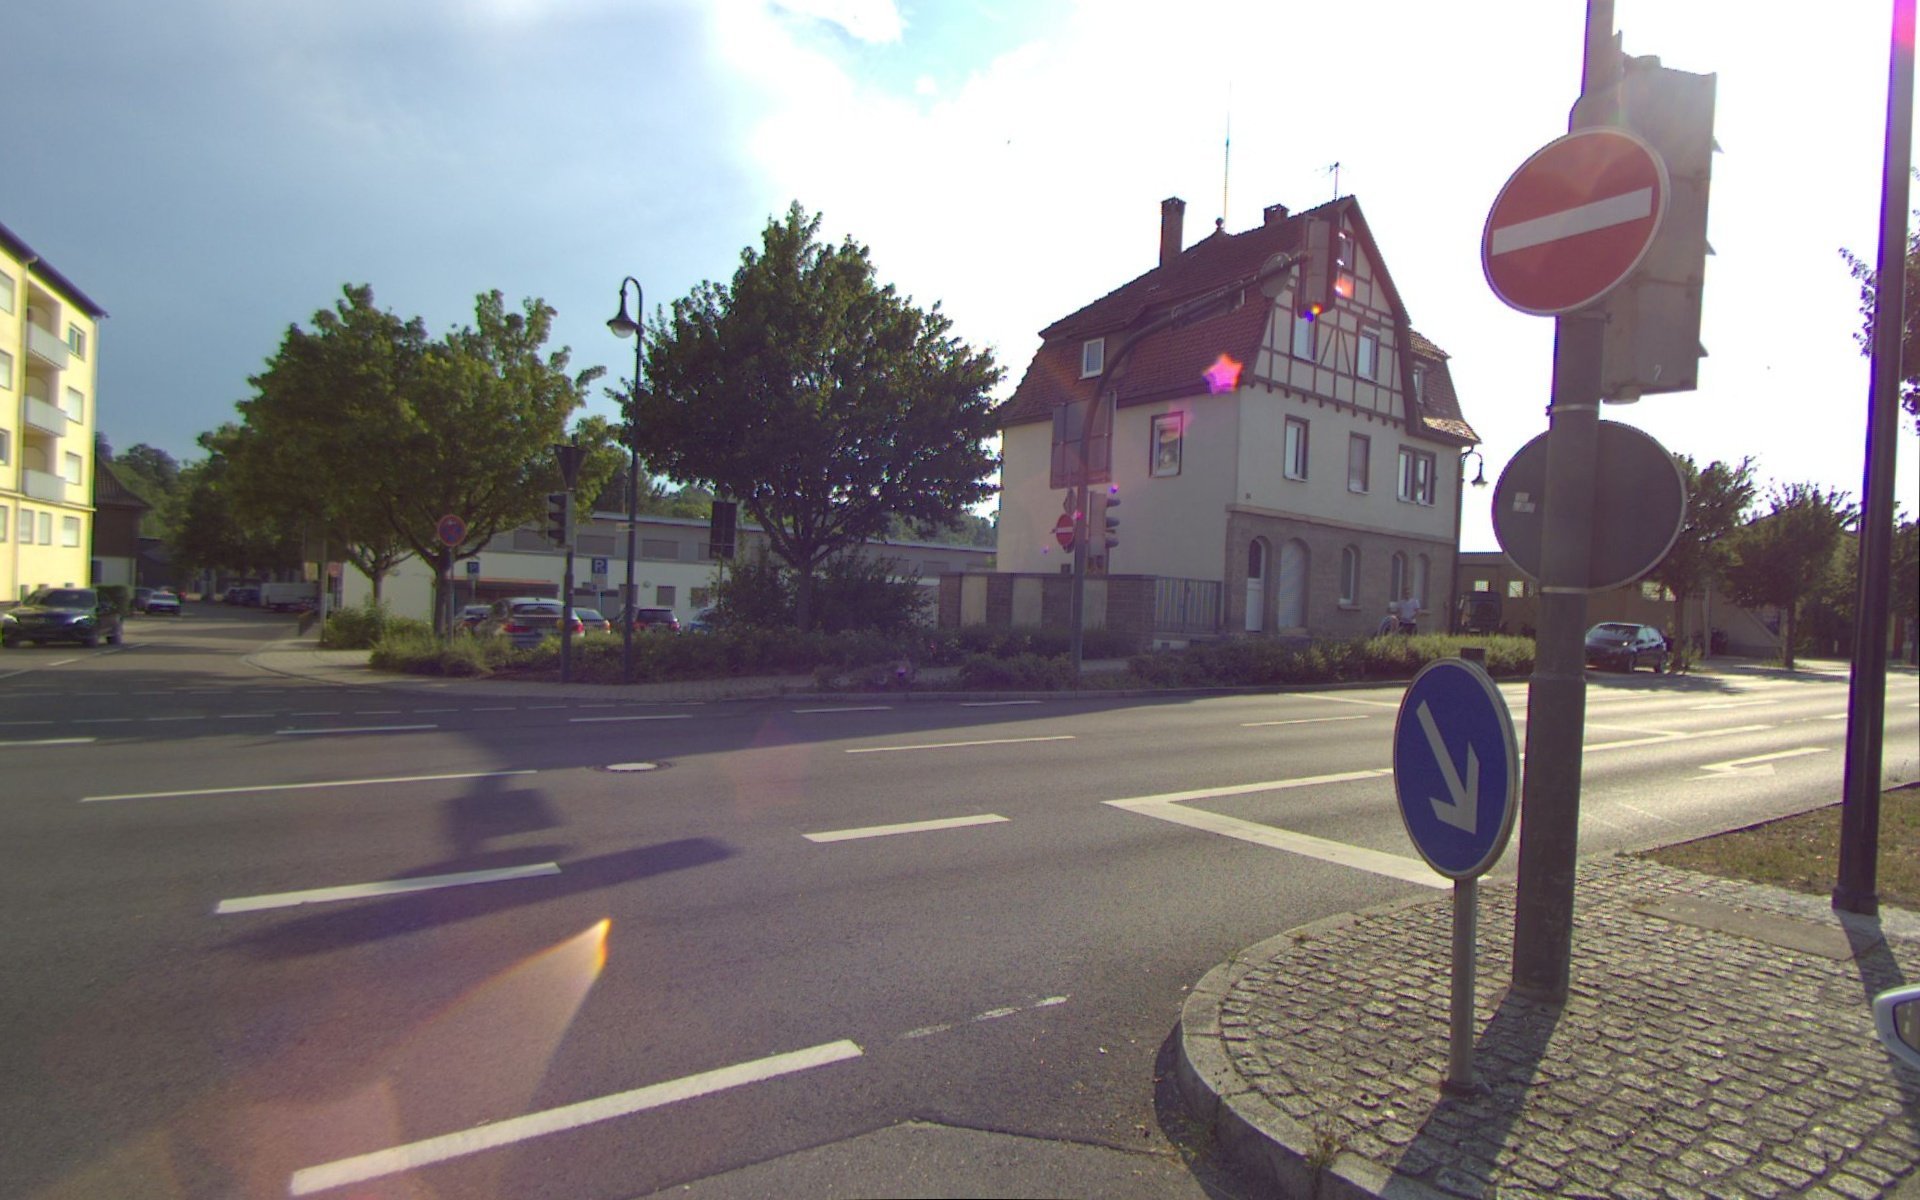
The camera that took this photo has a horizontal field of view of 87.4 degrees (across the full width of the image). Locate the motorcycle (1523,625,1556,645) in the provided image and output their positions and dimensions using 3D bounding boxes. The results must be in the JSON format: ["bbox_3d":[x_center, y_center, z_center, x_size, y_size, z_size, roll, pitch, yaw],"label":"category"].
[{"bbox_3d":[33.186,1.993,57.499,1.605,1.121,0.517,1,0,-4],"label":"motorcycle"}]

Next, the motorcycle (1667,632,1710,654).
[{"bbox_3d":[37.276,2.185,51.389,1.833,1.083,0.517,1,0,0],"label":"motorcycle"}]

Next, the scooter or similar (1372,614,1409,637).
[{"bbox_3d":[11.297,0.662,26.331,1.034,0.590,0.440,1,-1,-37],"label":"scooter or similar"}]

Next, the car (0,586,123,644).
[{"bbox_3d":[-24.407,0.406,27.373,1.727,1.455,3.565,2,-1,-28],"label":"car"}]

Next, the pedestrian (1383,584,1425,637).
[{"bbox_3d":[11.951,0.285,27.043,0.700,1.413,0.806,1,0,-37],"label":"pedestrian"}]

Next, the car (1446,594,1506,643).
[{"bbox_3d":[28.353,0.970,55.332,2.002,2.367,4.320,4,3,16],"label":"car"}]

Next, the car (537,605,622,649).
[{"bbox_3d":[-13.032,0.905,34.314,1.732,1.418,3.618,2,-1,-37],"label":"car"}]

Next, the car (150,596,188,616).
[{"bbox_3d":[-54.286,0.430,68.961,1.730,1.276,3.559,2,-1,-34],"label":"car"}]

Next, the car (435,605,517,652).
[{"bbox_3d":[-15.871,0.906,32.874,1.732,1.418,3.618,2,-1,-37],"label":"car"}]

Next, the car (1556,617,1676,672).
[{"bbox_3d":[20.789,1.395,31.775,4.092,1.473,1.744,2,4,-36],"label":"car"}]

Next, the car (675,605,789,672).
[{"bbox_3d":[-6.077,0.985,26.610,1.732,1.661,3.262,2,-1,-37],"label":"car"}]
